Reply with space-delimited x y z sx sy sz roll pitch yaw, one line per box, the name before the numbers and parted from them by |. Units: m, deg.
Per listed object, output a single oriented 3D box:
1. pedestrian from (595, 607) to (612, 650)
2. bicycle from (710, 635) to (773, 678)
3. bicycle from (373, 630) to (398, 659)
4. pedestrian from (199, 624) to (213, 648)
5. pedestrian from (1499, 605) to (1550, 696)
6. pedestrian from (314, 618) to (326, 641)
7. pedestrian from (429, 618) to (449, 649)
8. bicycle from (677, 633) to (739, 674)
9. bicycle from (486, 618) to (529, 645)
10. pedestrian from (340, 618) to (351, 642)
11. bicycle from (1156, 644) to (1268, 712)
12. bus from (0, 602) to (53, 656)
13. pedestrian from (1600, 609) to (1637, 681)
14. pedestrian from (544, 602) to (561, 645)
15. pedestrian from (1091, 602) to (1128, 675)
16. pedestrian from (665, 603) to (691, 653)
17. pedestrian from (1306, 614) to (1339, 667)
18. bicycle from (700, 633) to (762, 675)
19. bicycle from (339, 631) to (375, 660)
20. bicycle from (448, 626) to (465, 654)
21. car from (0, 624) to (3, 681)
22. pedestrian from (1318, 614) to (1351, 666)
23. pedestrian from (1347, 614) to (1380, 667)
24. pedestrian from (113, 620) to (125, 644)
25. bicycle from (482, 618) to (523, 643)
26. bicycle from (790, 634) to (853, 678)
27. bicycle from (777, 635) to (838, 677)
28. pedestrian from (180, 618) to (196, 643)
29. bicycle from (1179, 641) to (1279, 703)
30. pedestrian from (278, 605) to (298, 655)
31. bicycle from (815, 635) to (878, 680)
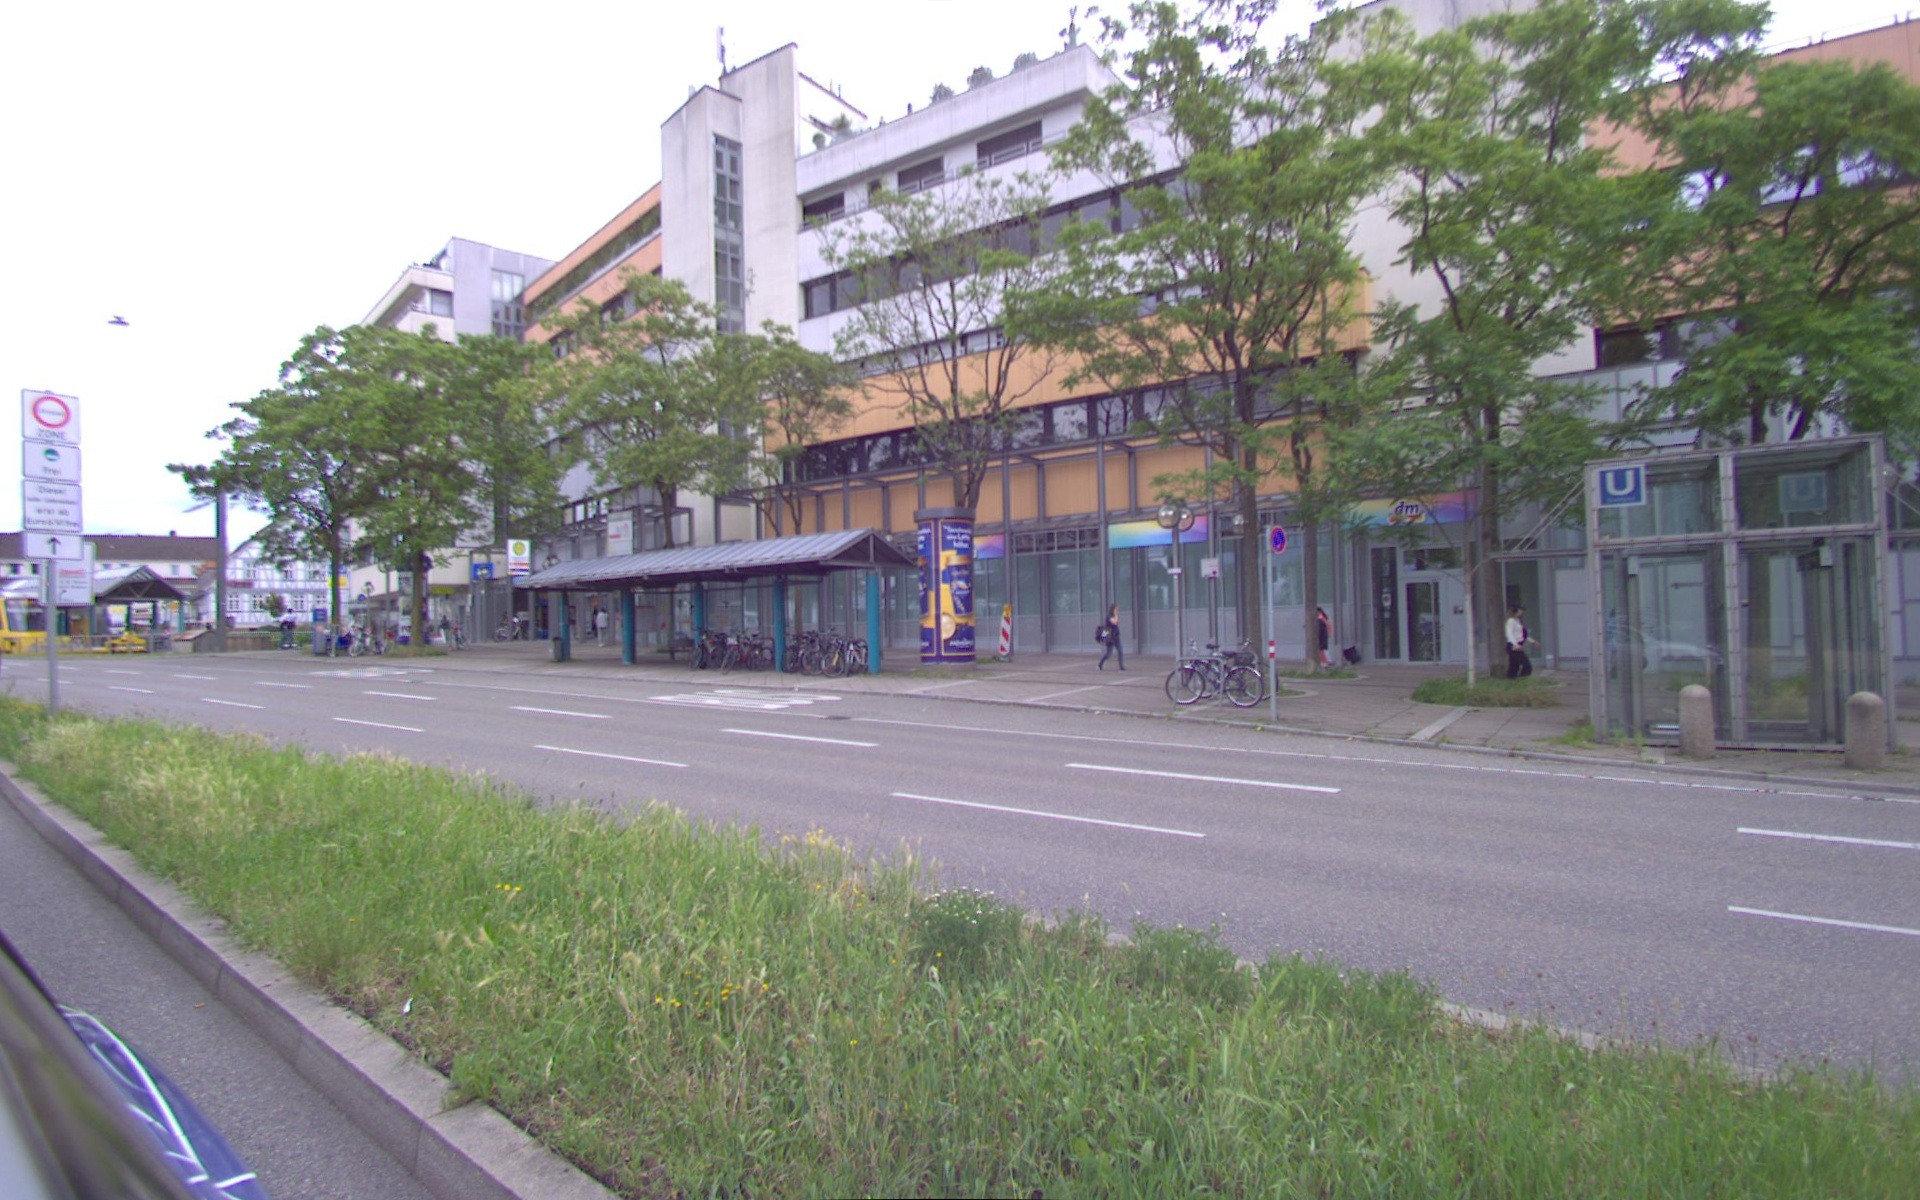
pedestrian | -15.482 1.237 43.913 0.639 1.823 0.761 0 -2 -16
bicycle | -5.969 1.525 27.728 0.549 1.048 1.714 -2 1 38
bicycle | -22.755 1.748 40.115 0.584 1.085 2.044 0 -1 -21
pedestrian | -50.090 2.384 67.240 0.581 1.554 0.570 -1 -2 32
pedestrian | 10.527 0.925 18.868 0.721 1.662 0.669 -1 -1 37
pedestrian | -42.248 1.939 66.812 0.548 1.506 0.454 1 -2 -41
pedestrian | -28.525 1.812 55.437 0.752 1.695 0.755 -1 -2 41
bicycle | -7.242 1.531 29.155 0.549 1.048 1.714 -2 0 38
bicycle | -24.957 1.718 55.794 2.107 1.385 0.621 -1 0 -31
pedestrian | -30.977 1.495 51.024 0.368 1.188 0.338 -1 -2 31
bicycle | 4.360 1.321 17.605 0.802 1.068 1.739 0 -1 -40
bus | -55.991 1.676 58.621 8.470 3.006 2.530 -1 -2 29
pedestrian | 14.089 0.958 21.656 0.620 1.515 0.563 -1 -2 31
pedestrian | -19.732 1.143 49.024 0.558 2.029 0.611 1 -2 -44
pedestrian | 3.780 0.973 25.606 0.769 1.800 0.525 -1 -2 33
pedestrian | -11.712 1.149 42.063 0.792 2.029 0.702 -1 0 34
pedestrian | 9.639 1.073 26.921 0.694 1.385 0.578 -1 -2 34
bicycle | -6.463 1.508 28.590 0.549 1.048 1.714 -2 1 38
bicycle | -23.622 1.761 39.658 0.585 1.085 2.042 0 -1 -12
bicycle | -21.360 1.702 42.935 0.584 1.134 2.044 1 -1 -26
car | -27.357 1.426 27.068 4.277 1.492 1.695 -2 -1 34
pedestrian | 10.148 1.066 27.415 0.694 1.385 0.578 -1 -2 34
pedestrian | 10.720 1.059 26.859 0.694 1.385 0.578 -1 -2 34
pedestrian | -70.002 2.656 84.233 0.731 2.029 0.940 1 -2 -39
bicycle | -26.105 1.729 57.772 2.106 1.377 0.621 -1 0 -24
bicycle | -3.622 1.454 26.599 0.549 1.048 1.714 -2 0 38
bicycle | -4.146 1.511 27.567 0.549 1.048 1.714 -2 -1 38
pedestrian | -62.547 2.466 82.000 0.867 2.029 1.010 1 -2 -44
bicycle | 4.976 1.310 18.796 1.737 1.074 0.542 -2 -1 45
pedestrian | -31.613 1.425 47.598 0.608 2.325 0.583 -1 -2 39
bicycle | -2.913 1.470 26.067 0.549 1.048 1.714 -2 0 38
